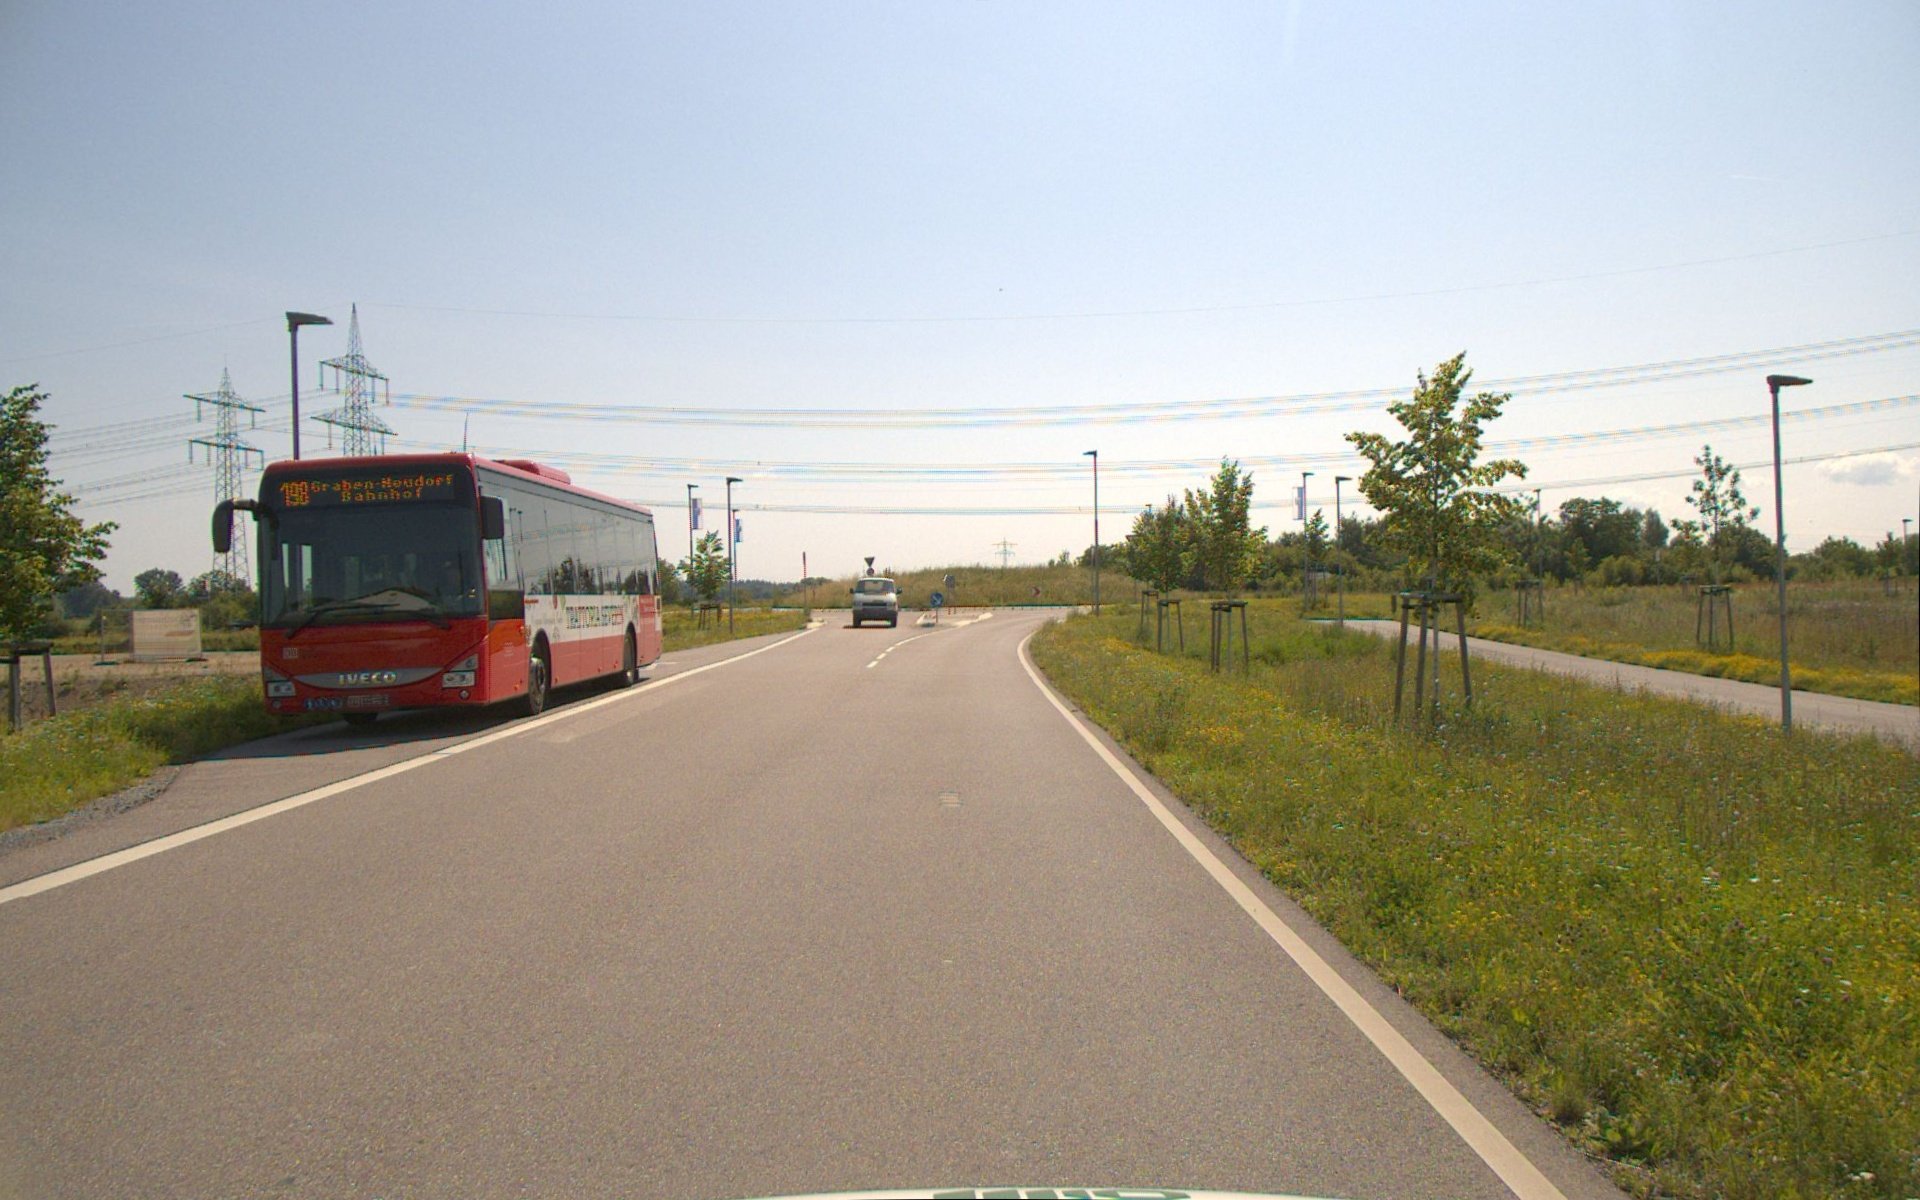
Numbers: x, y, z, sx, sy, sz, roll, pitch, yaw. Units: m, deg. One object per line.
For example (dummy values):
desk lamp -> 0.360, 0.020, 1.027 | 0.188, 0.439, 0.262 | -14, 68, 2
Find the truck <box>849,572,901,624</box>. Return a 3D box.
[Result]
truck -> -3.537, -0.080, 68.127 | 1.913, 2.019, 5.638 | 1, 0, -5

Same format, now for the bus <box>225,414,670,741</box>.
bus -> -6.501, -0.272, 23.643 | 2.738, 3.344, 12.225 | -2, 0, -2
